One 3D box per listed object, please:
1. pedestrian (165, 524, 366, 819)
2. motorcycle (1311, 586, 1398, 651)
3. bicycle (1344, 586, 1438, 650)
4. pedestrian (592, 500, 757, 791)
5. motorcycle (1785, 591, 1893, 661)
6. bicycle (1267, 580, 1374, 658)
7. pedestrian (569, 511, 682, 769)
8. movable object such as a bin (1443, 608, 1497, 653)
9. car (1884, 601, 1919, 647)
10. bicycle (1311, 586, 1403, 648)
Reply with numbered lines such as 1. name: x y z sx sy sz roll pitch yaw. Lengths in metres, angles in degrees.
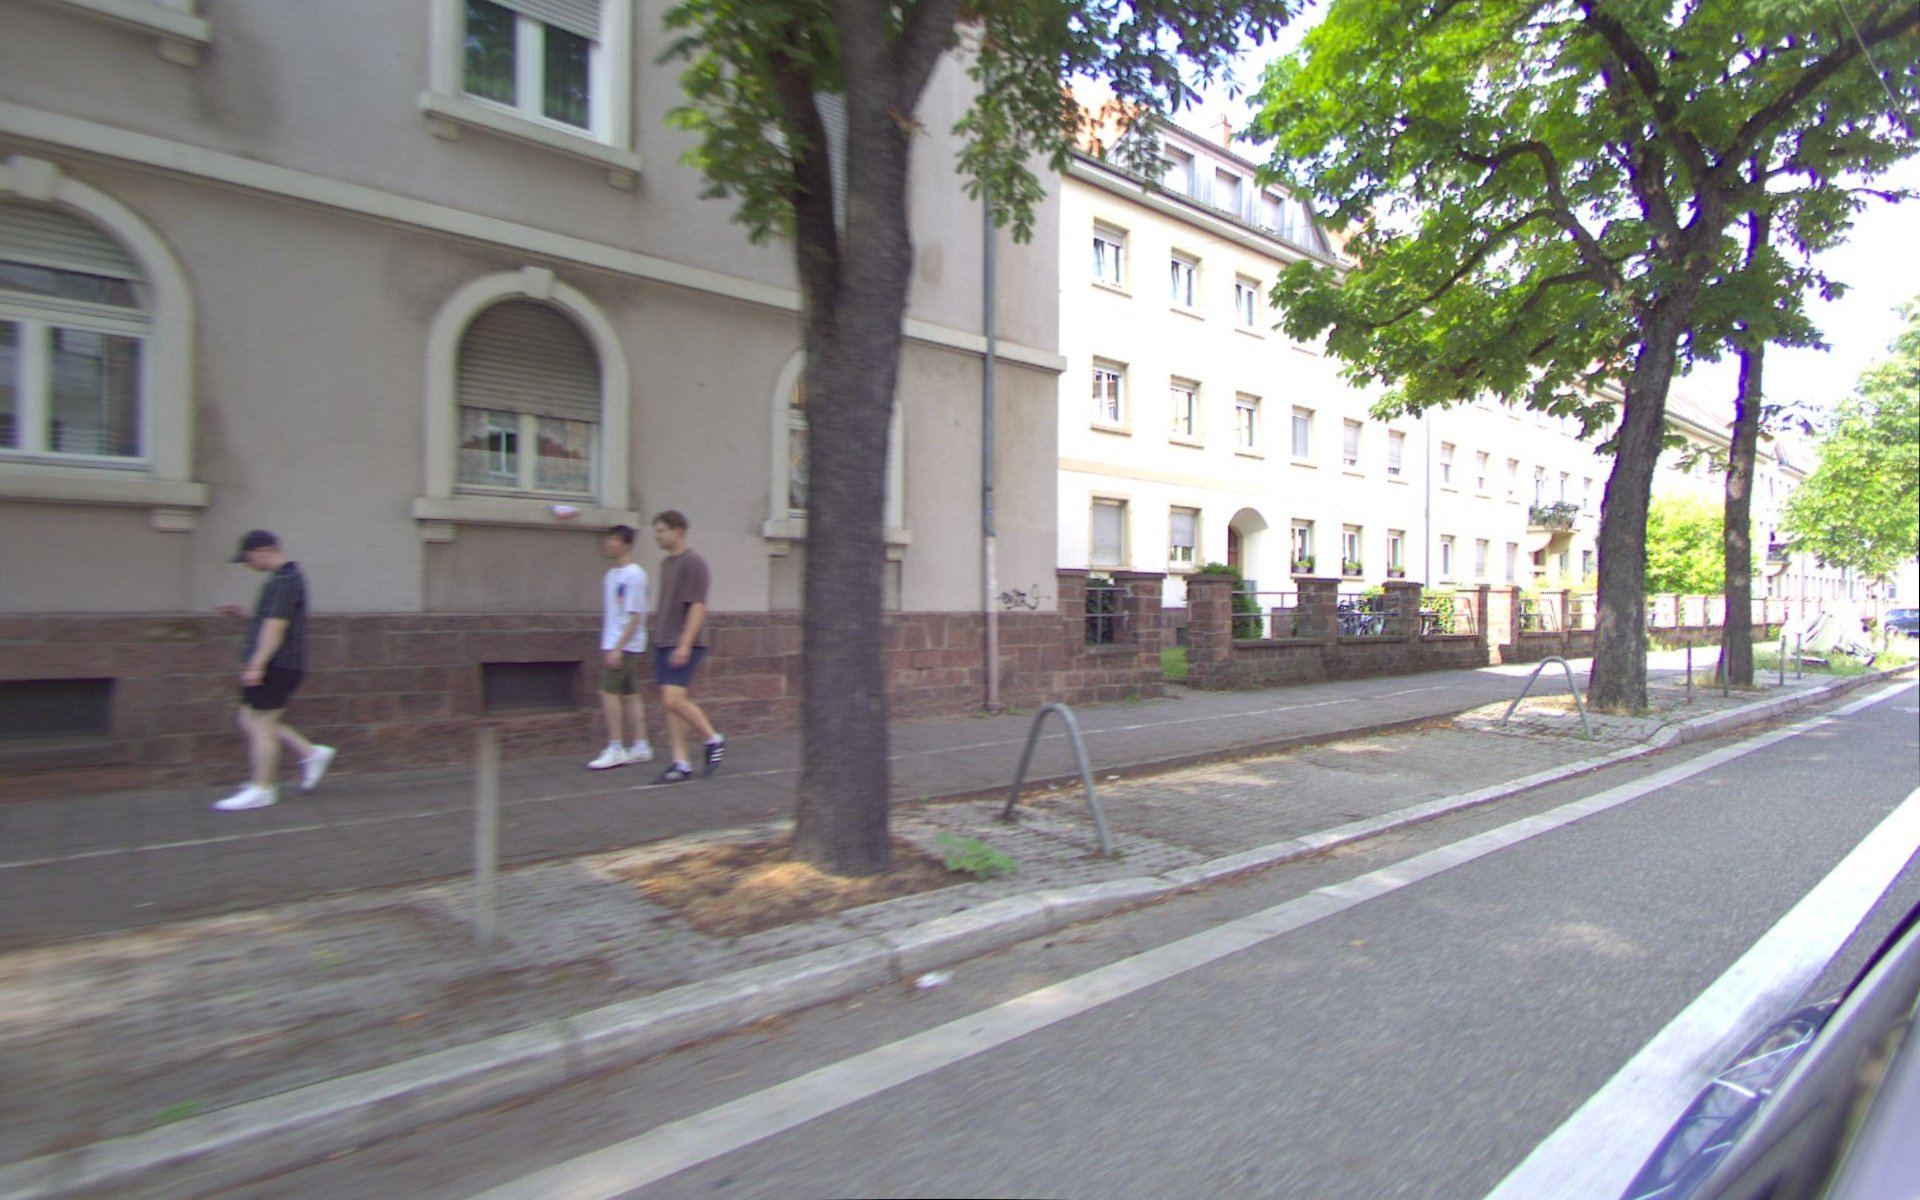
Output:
1. pedestrian: -4.270 0.400 6.236 0.959 1.660 0.581 0 0 -41
2. motorcycle: 9.152 0.392 23.424 2.553 1.432 0.752 -1 0 -41
3. bicycle: 8.643 0.328 20.239 2.553 1.206 0.653 -1 0 -41
4. pedestrian: -2.035 0.285 7.211 0.870 1.912 0.755 0 1 -41
5. motorcycle: 20.044 0.562 23.140 0.796 1.512 2.067 1 0 6
6. bicycle: 6.625 0.316 18.508 2.553 1.335 0.653 -1 0 -41
7. pedestrian: -2.569 0.286 7.769 0.675 1.876 0.505 0 0 -41
8. movable object such as a bin: 11.031 0.640 21.914 0.739 0.928 0.829 0 0 -41
9. car: 31.372 0.748 32.793 3.931 1.405 1.692 0 1 -42
10. bicycle: 8.216 0.329 20.886 2.553 1.206 0.653 -1 0 -41
